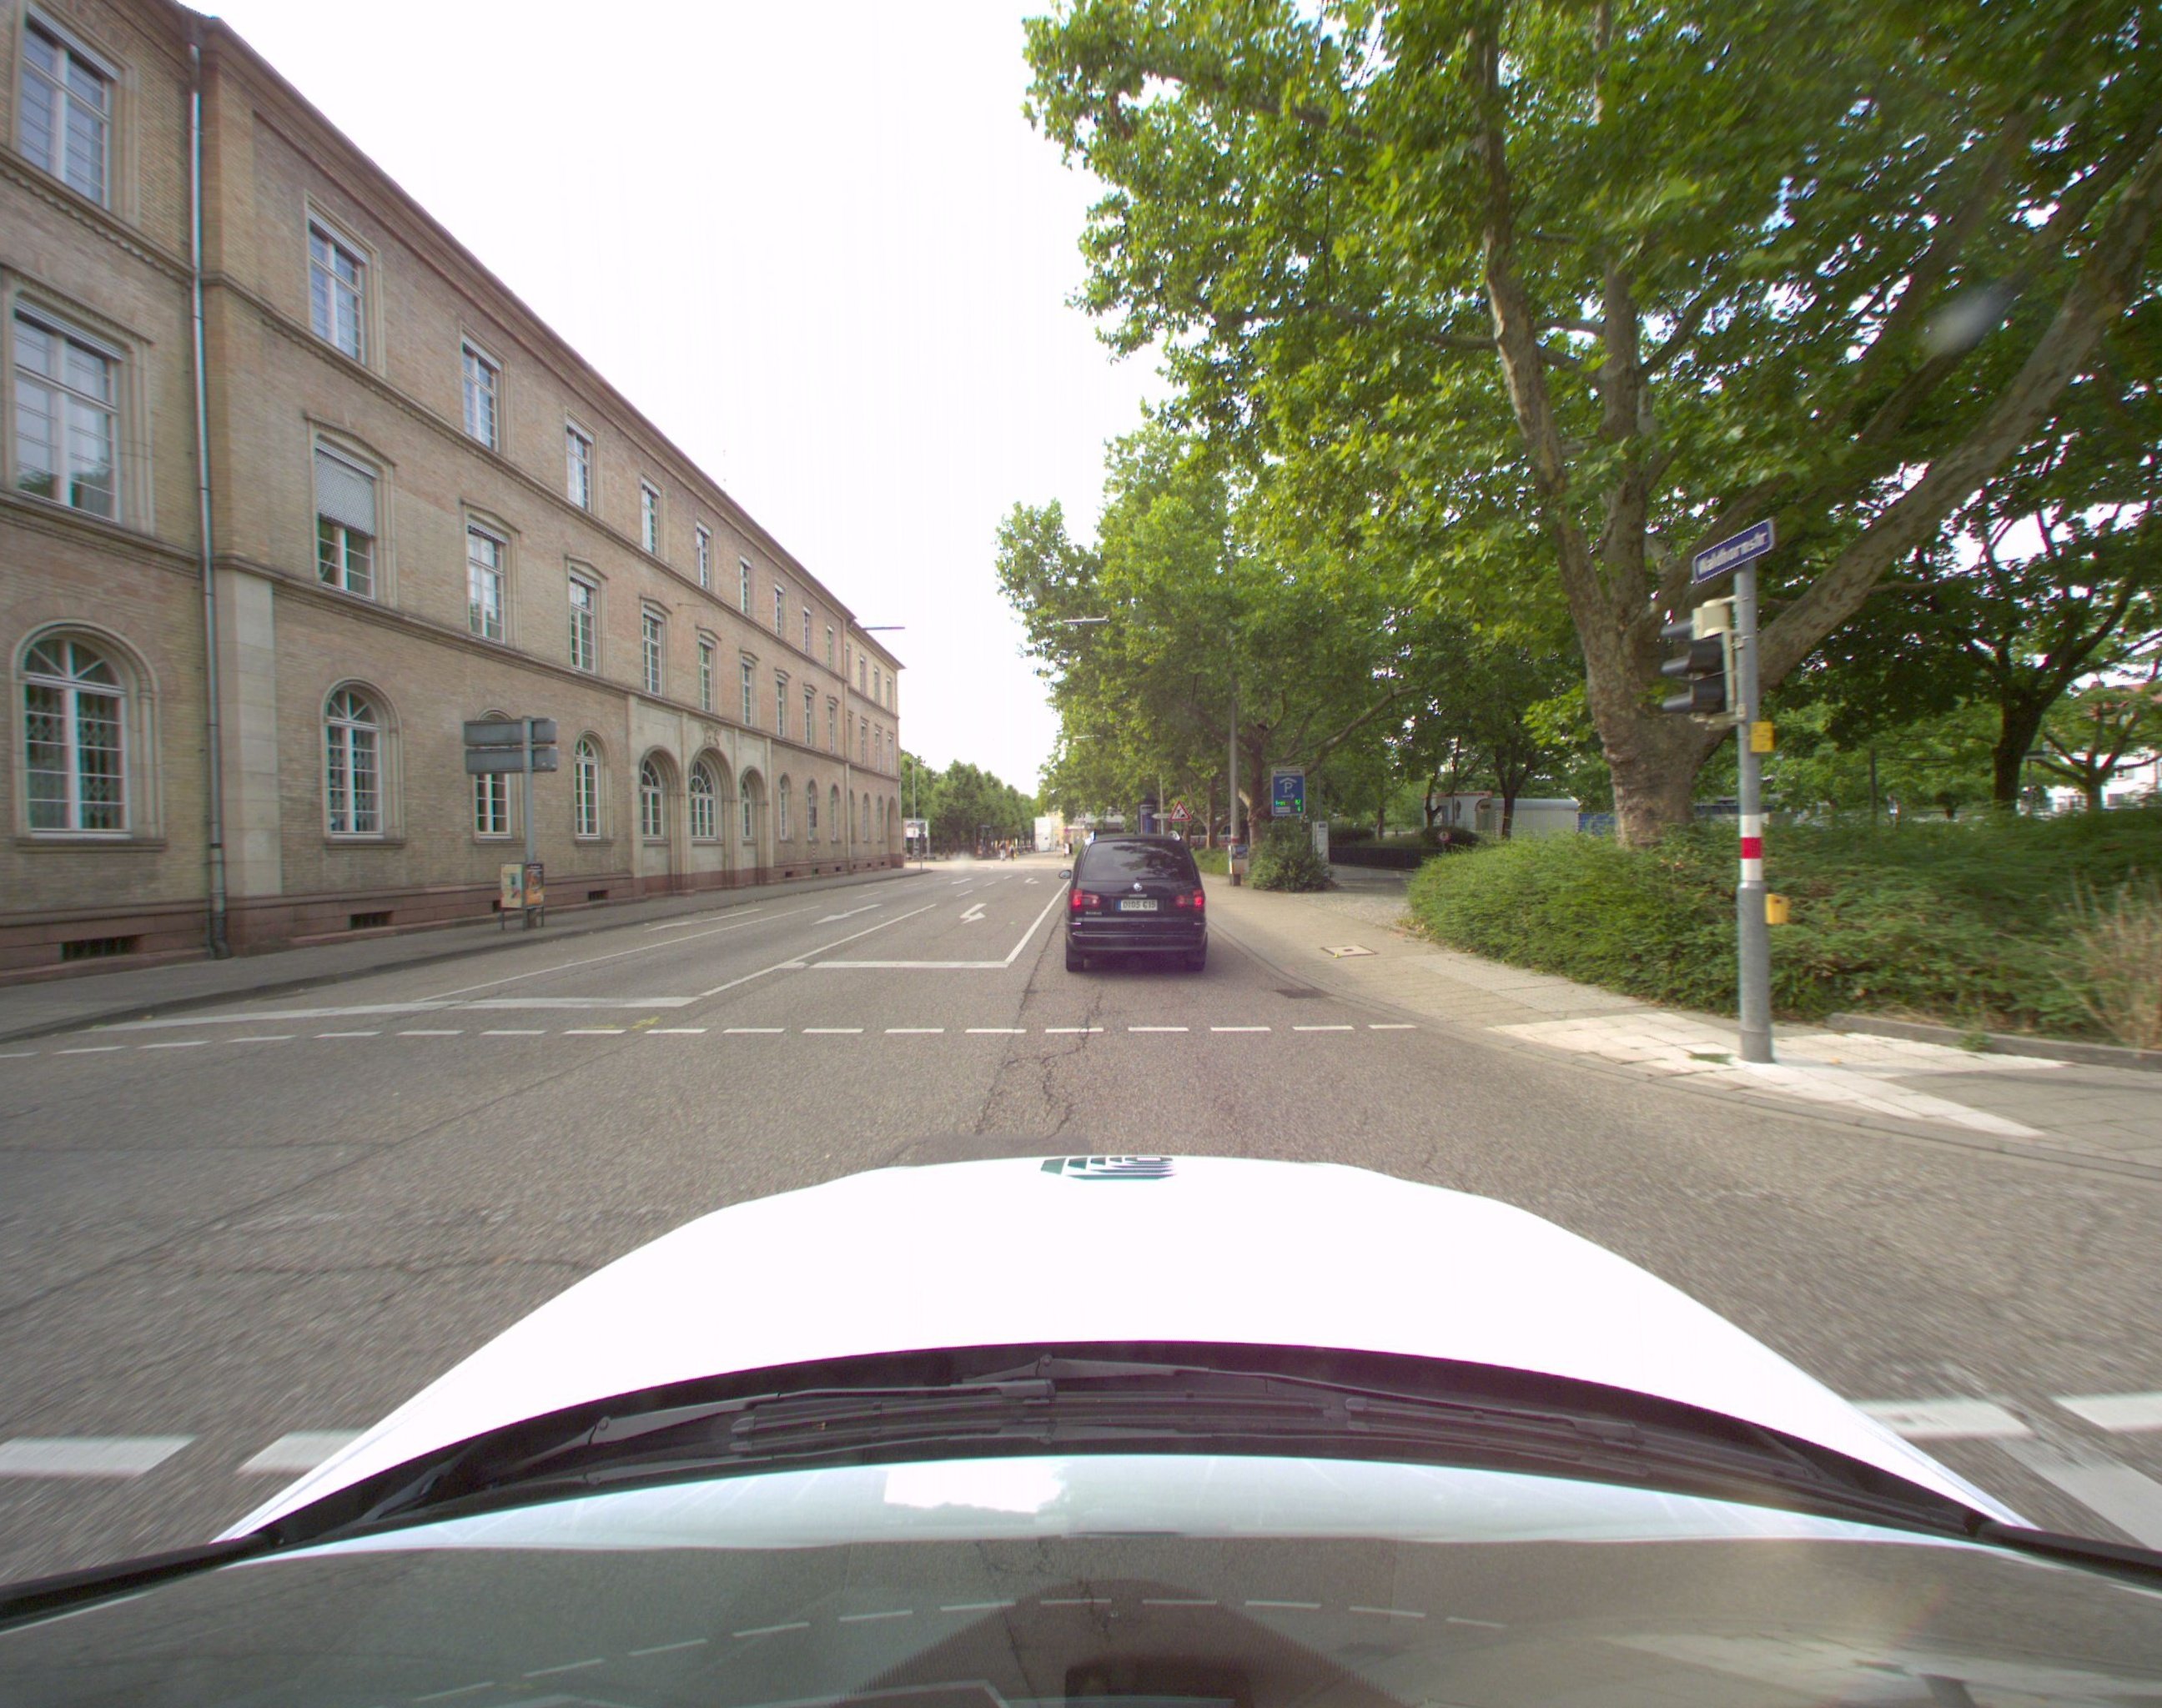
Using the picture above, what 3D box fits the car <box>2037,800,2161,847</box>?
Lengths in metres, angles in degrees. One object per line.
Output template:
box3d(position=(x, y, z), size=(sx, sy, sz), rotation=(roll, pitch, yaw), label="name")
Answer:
box3d(position=(47.101, -1.344, 36.843), size=(1.989, 2.013, 4.768), rotation=(0, 1, -3), label="car")

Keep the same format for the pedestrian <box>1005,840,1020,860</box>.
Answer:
box3d(position=(-5.821, -0.335, 68.946), size=(0.887, 1.641, 0.858), rotation=(1, 1, 36), label="pedestrian")

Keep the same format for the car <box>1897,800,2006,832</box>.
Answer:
box3d(position=(56.978, -2.447, 53.448), size=(1.988, 2.013, 4.770), rotation=(0, 1, -2), label="car")

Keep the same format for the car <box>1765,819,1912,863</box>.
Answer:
box3d(position=(33.187, -0.576, 35.905), size=(1.988, 1.794, 4.770), rotation=(0, 1, -2), label="car")

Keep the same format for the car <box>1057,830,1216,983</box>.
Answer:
box3d(position=(0.666, 0.564, 11.404), size=(1.787, 1.708, 4.132), rotation=(-1, 1, 1), label="car")

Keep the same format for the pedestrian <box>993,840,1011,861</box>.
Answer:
box3d(position=(-6.701, -0.296, 69.155), size=(0.951, 1.741, 1.264), rotation=(1, 1, 40), label="pedestrian")

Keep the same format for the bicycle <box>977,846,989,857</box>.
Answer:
box3d(position=(-10.757, -0.308, 89.200), size=(0.954, 1.110, 2.566), rotation=(0, 1, -16), label="bicycle")
